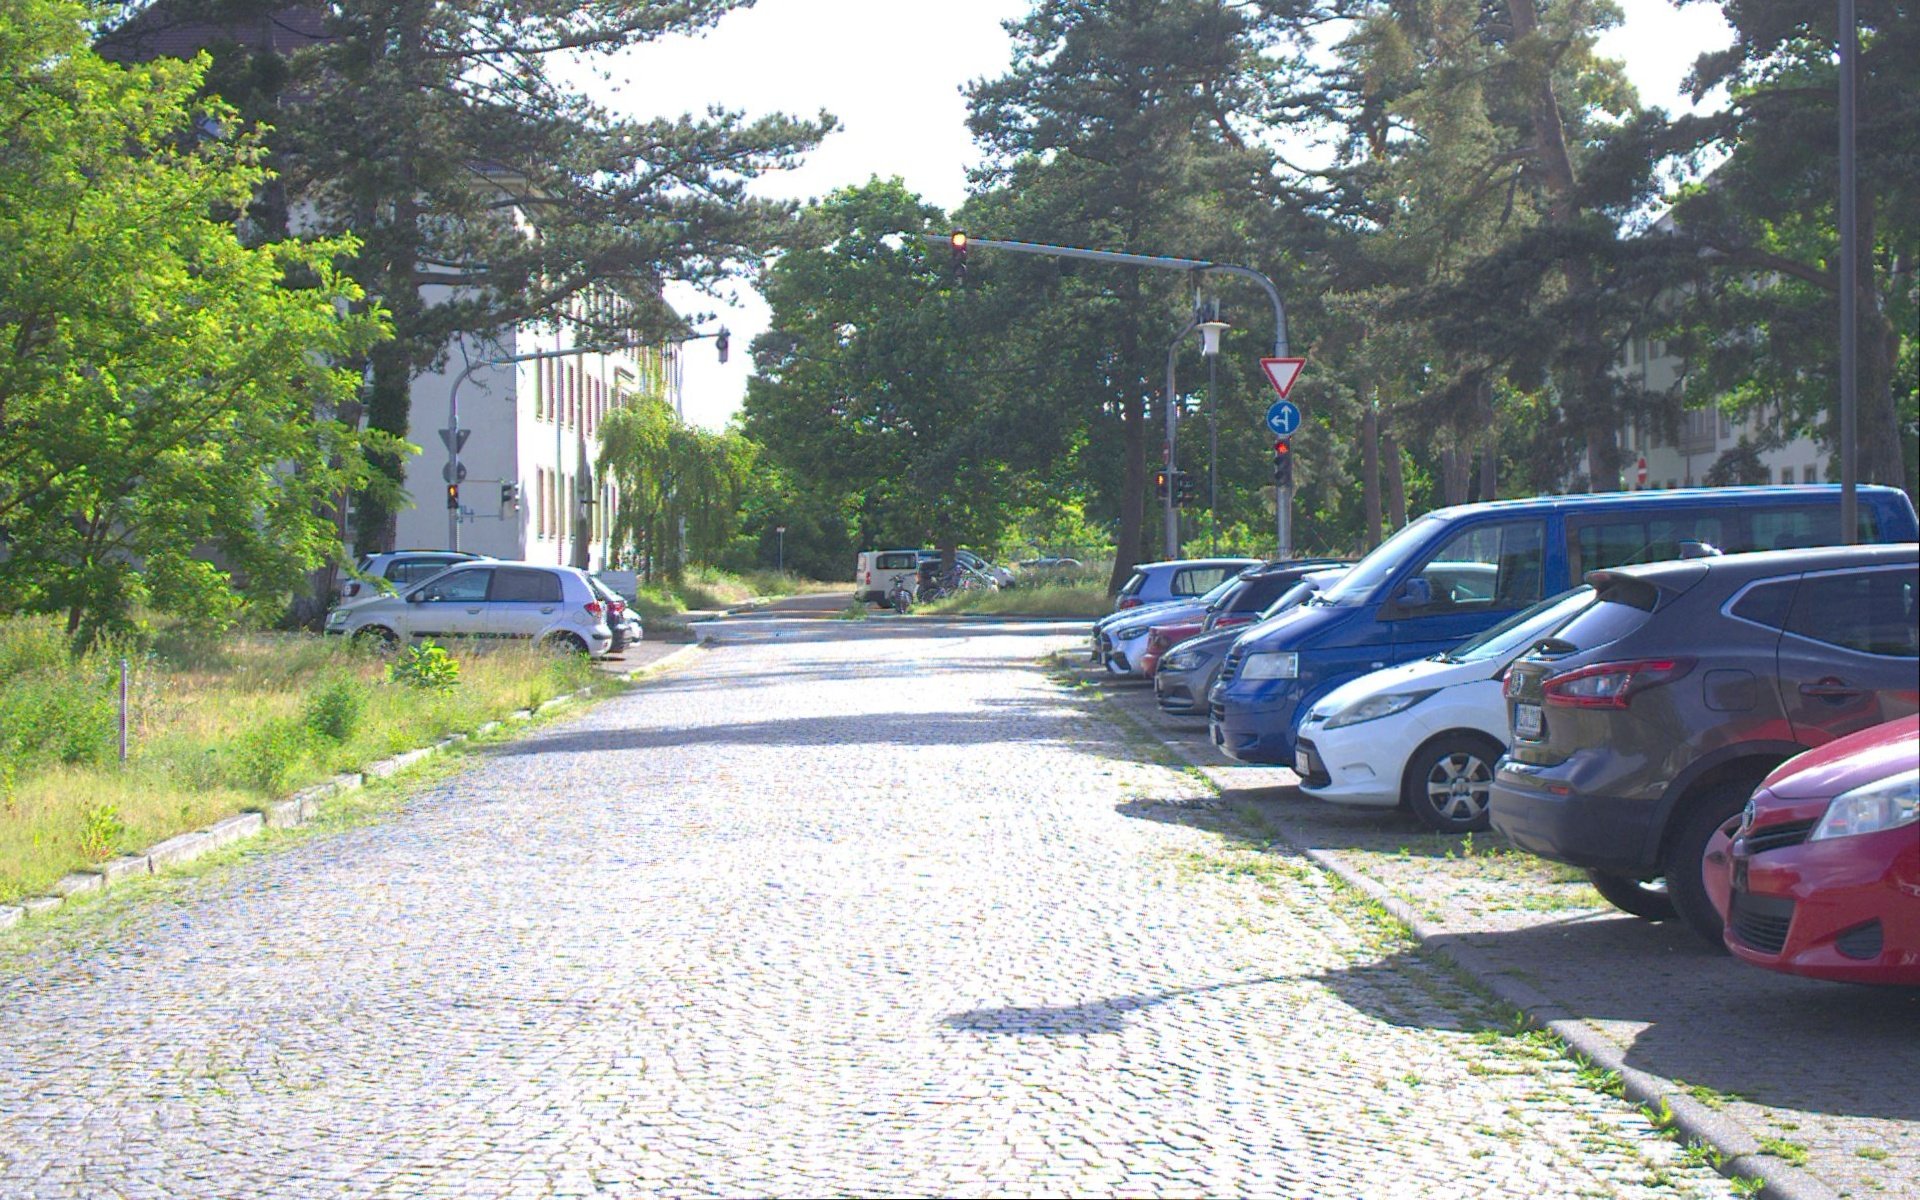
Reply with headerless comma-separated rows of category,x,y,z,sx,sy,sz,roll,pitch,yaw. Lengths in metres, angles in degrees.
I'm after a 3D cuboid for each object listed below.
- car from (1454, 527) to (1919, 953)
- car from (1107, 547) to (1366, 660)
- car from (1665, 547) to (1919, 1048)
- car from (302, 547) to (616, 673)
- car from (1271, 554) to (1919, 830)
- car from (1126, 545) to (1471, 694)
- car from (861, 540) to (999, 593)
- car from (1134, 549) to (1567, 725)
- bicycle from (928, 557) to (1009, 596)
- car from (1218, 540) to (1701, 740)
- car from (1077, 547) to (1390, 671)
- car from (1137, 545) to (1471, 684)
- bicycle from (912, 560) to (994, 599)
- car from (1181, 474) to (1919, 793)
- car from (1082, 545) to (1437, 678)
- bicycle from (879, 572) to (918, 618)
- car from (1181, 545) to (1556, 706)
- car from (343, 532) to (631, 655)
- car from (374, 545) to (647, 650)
car,4.146,0.506,14.083,3.935,1.616,1.772,-1,1,-2
car,3.732,0.029,46.805,3.343,1.477,1.645,-1,1,-2
car,4.410,0.579,11.411,3.762,1.525,1.645,-1,1,-2
car,-6.648,0.113,45.957,3.986,1.595,2.000,-1,1,-3
car,3.833,0.512,20.501,3.718,1.483,1.646,-1,1,-3
car,3.592,0.190,36.852,3.477,1.524,1.645,-1,1,-2
car,-1.004,-1.108,113.235,4.480,1.722,2.000,0,1,-1
car,3.499,0.314,31.242,3.675,1.462,1.645,-1,1,-2
bicycle,0.231,-0.672,96.944,2.172,1.096,0.807,0,1,-10
car,4.065,0.308,28.357,3.694,1.461,1.645,-2,1,0
car,3.473,0.097,44.163,3.835,1.524,1.645,-1,1,-2
car,3.893,0.148,39.315,3.602,1.524,1.645,-1,1,-2
bicycle,-0.207,-0.577,95.772,2.172,1.096,0.807,0,1,-10
car,3.953,0.193,23.176,4.676,2.007,2.084,-1,1,-4
car,3.572,0.118,41.392,4.033,1.524,1.646,-1,1,-4
bicycle,-1.650,-0.147,92.306,0.804,1.165,2.181,-2,1,-7
car,4.018,0.232,34.164,3.477,1.524,1.645,-1,1,-2
car,-7.021,-0.114,51.342,3.987,1.596,2.000,3,1,-1
car,-6.990,-0.051,53.744,3.987,1.448,2.000,2,1,-1
